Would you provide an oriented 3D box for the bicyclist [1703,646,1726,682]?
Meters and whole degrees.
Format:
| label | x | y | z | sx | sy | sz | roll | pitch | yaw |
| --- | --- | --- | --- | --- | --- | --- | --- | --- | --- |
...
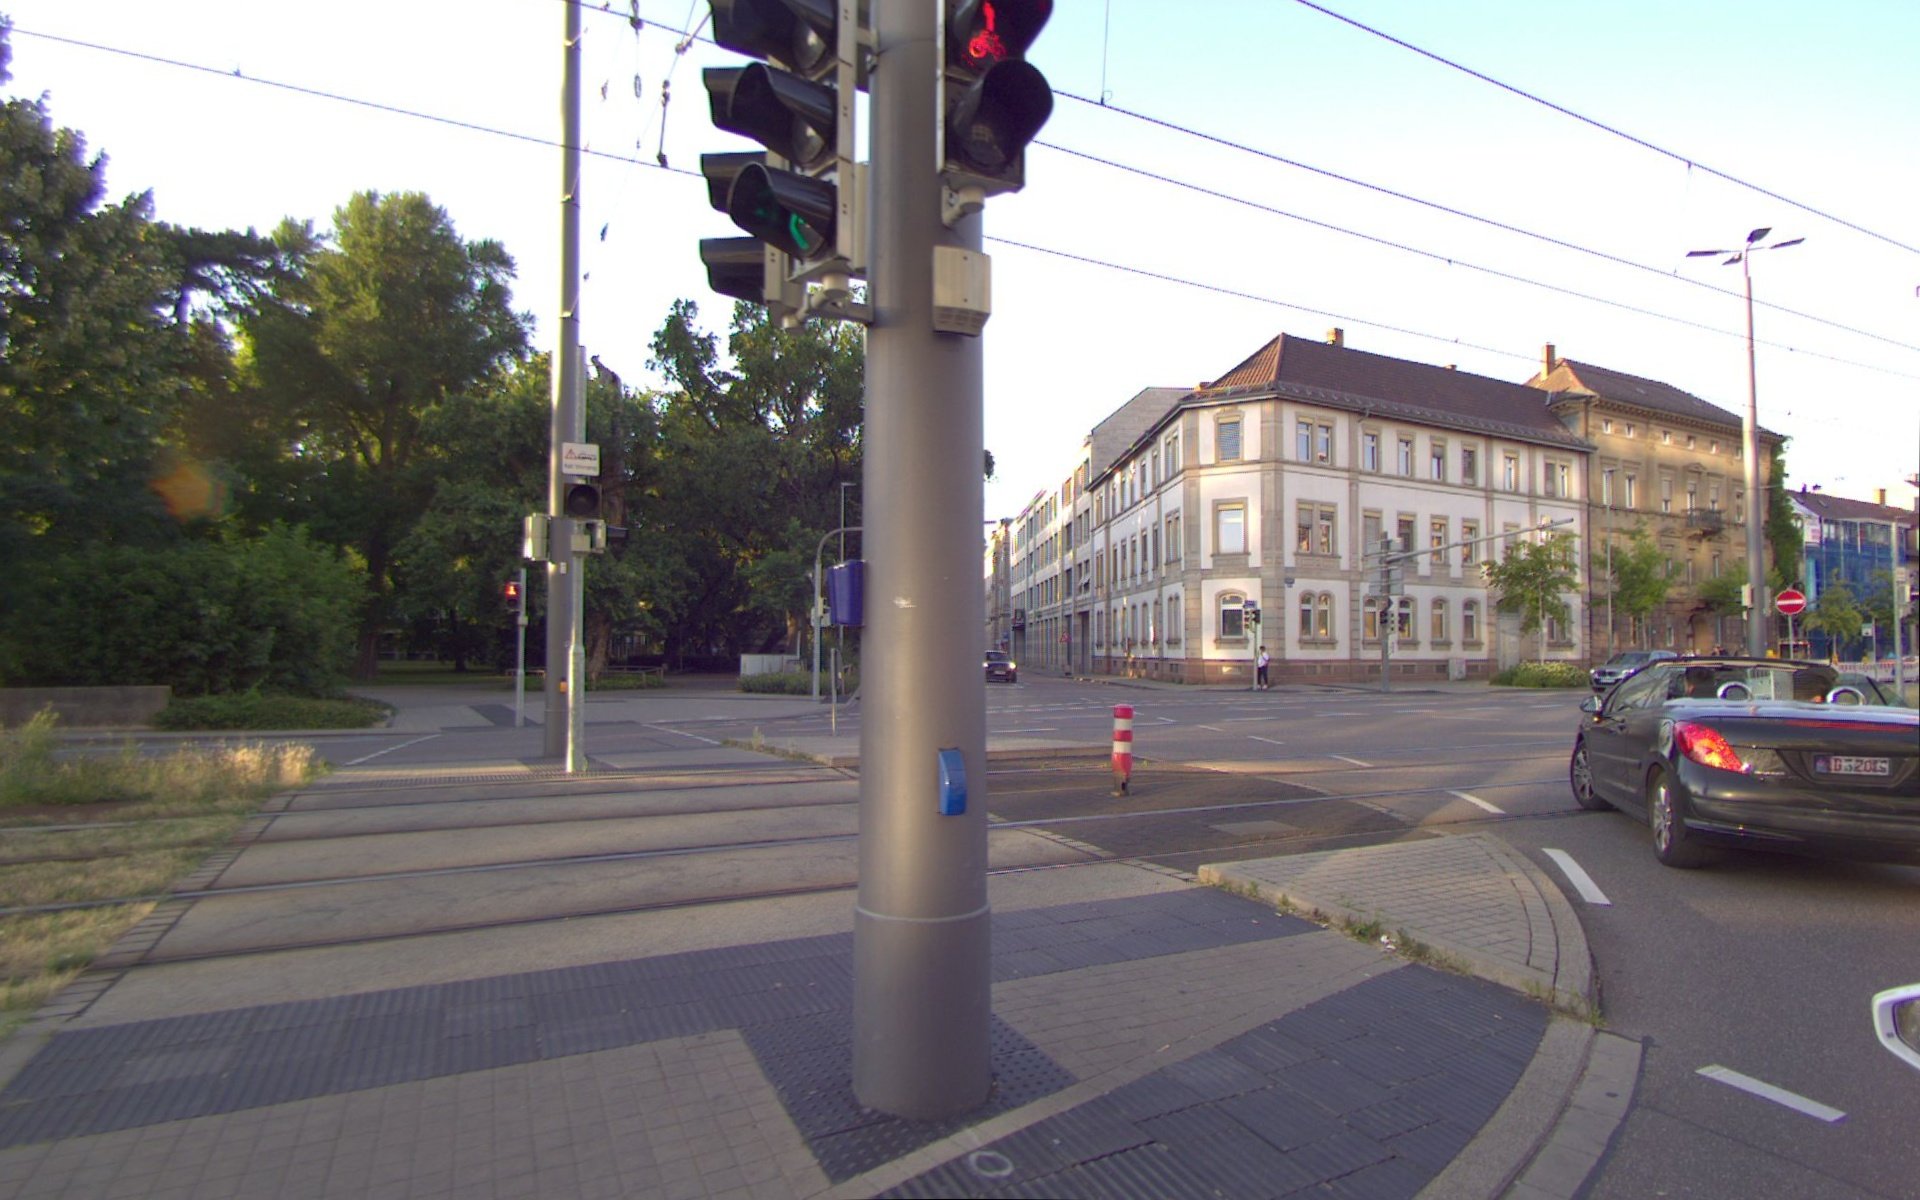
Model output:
| label | x | y | z | sx | sy | sz | roll | pitch | yaw |
| --- | --- | --- | --- | --- | --- | --- | --- | --- | --- |
| bicyclist | 34.066 | 2.866 | 45.353 | 0.702 | 1.590 | 0.587 | 1 | 0 | -27 |

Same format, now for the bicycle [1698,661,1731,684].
| label | x | y | z | sx | sy | sz | roll | pitch | yaw |
| --- | --- | --- | --- | --- | --- | --- | --- | --- | --- |
| bicycle | 34.054 | 3.268 | 45.352 | 1.536 | 0.988 | 0.587 | 1 | 0 | -28 |

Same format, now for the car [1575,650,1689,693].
| label | x | y | z | sx | sy | sz | roll | pitch | yaw |
| --- | --- | --- | --- | --- | --- | --- | --- | --- | --- |
| car | 26.309 | 2.785 | 39.331 | 4.072 | 1.600 | 1.986 | 1 | -4 | -28 |

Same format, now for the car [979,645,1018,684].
| label | x | y | z | sx | sy | sz | roll | pitch | yaw |
| --- | --- | --- | --- | --- | --- | --- | --- | --- | --- |
| car | 1.816 | 3.034 | 47.784 | 1.754 | 1.576 | 4.001 | 1 | -1 | 1 |

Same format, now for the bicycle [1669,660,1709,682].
| label | x | y | z | sx | sy | sz | roll | pitch | yaw |
| --- | --- | --- | --- | --- | --- | --- | --- | --- | --- |
| bicycle | 33.492 | 3.257 | 46.149 | 1.616 | 0.957 | 0.771 | 1 | 0 | -22 |

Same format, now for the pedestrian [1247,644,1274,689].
| label | x | y | z | sx | sy | sz | roll | pitch | yaw |
| --- | --- | --- | --- | --- | --- | --- | --- | --- | --- |
| pedestrian | 12.150 | 2.669 | 40.648 | 0.800 | 1.738 | 0.701 | 1 | 0 | 40 |

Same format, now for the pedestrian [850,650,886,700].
| label | x | y | z | sx | sy | sz | roll | pitch | yaw |
| --- | --- | --- | --- | --- | --- | --- | --- | --- | --- |
| pedestrian | -2.832 | 2.292 | 30.921 | 0.924 | 1.478 | 0.601 | 1 | 0 | -28 |

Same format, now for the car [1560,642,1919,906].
| label | x | y | z | sx | sy | sz | roll | pitch | yaw |
| --- | --- | --- | --- | --- | --- | --- | --- | --- | --- |
| car | 5.748 | 1.048 | 7.516 | 1.647 | 1.370 | 3.998 | 0 | -1 | 23 |

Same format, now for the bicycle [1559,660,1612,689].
| label | x | y | z | sx | sy | sz | roll | pitch | yaw |
| --- | --- | --- | --- | --- | --- | --- | --- | --- | --- |
| bicycle | 26.789 | 3.191 | 43.009 | 2.384 | 1.139 | 0.844 | 1 | 0 | -29 |

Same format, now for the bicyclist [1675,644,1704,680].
| label | x | y | z | sx | sy | sz | roll | pitch | yaw |
| --- | --- | --- | --- | --- | --- | --- | --- | --- | --- |
| bicyclist | 33.502 | 2.856 | 46.148 | 0.781 | 1.591 | 0.771 | 1 | 0 | -22 |
